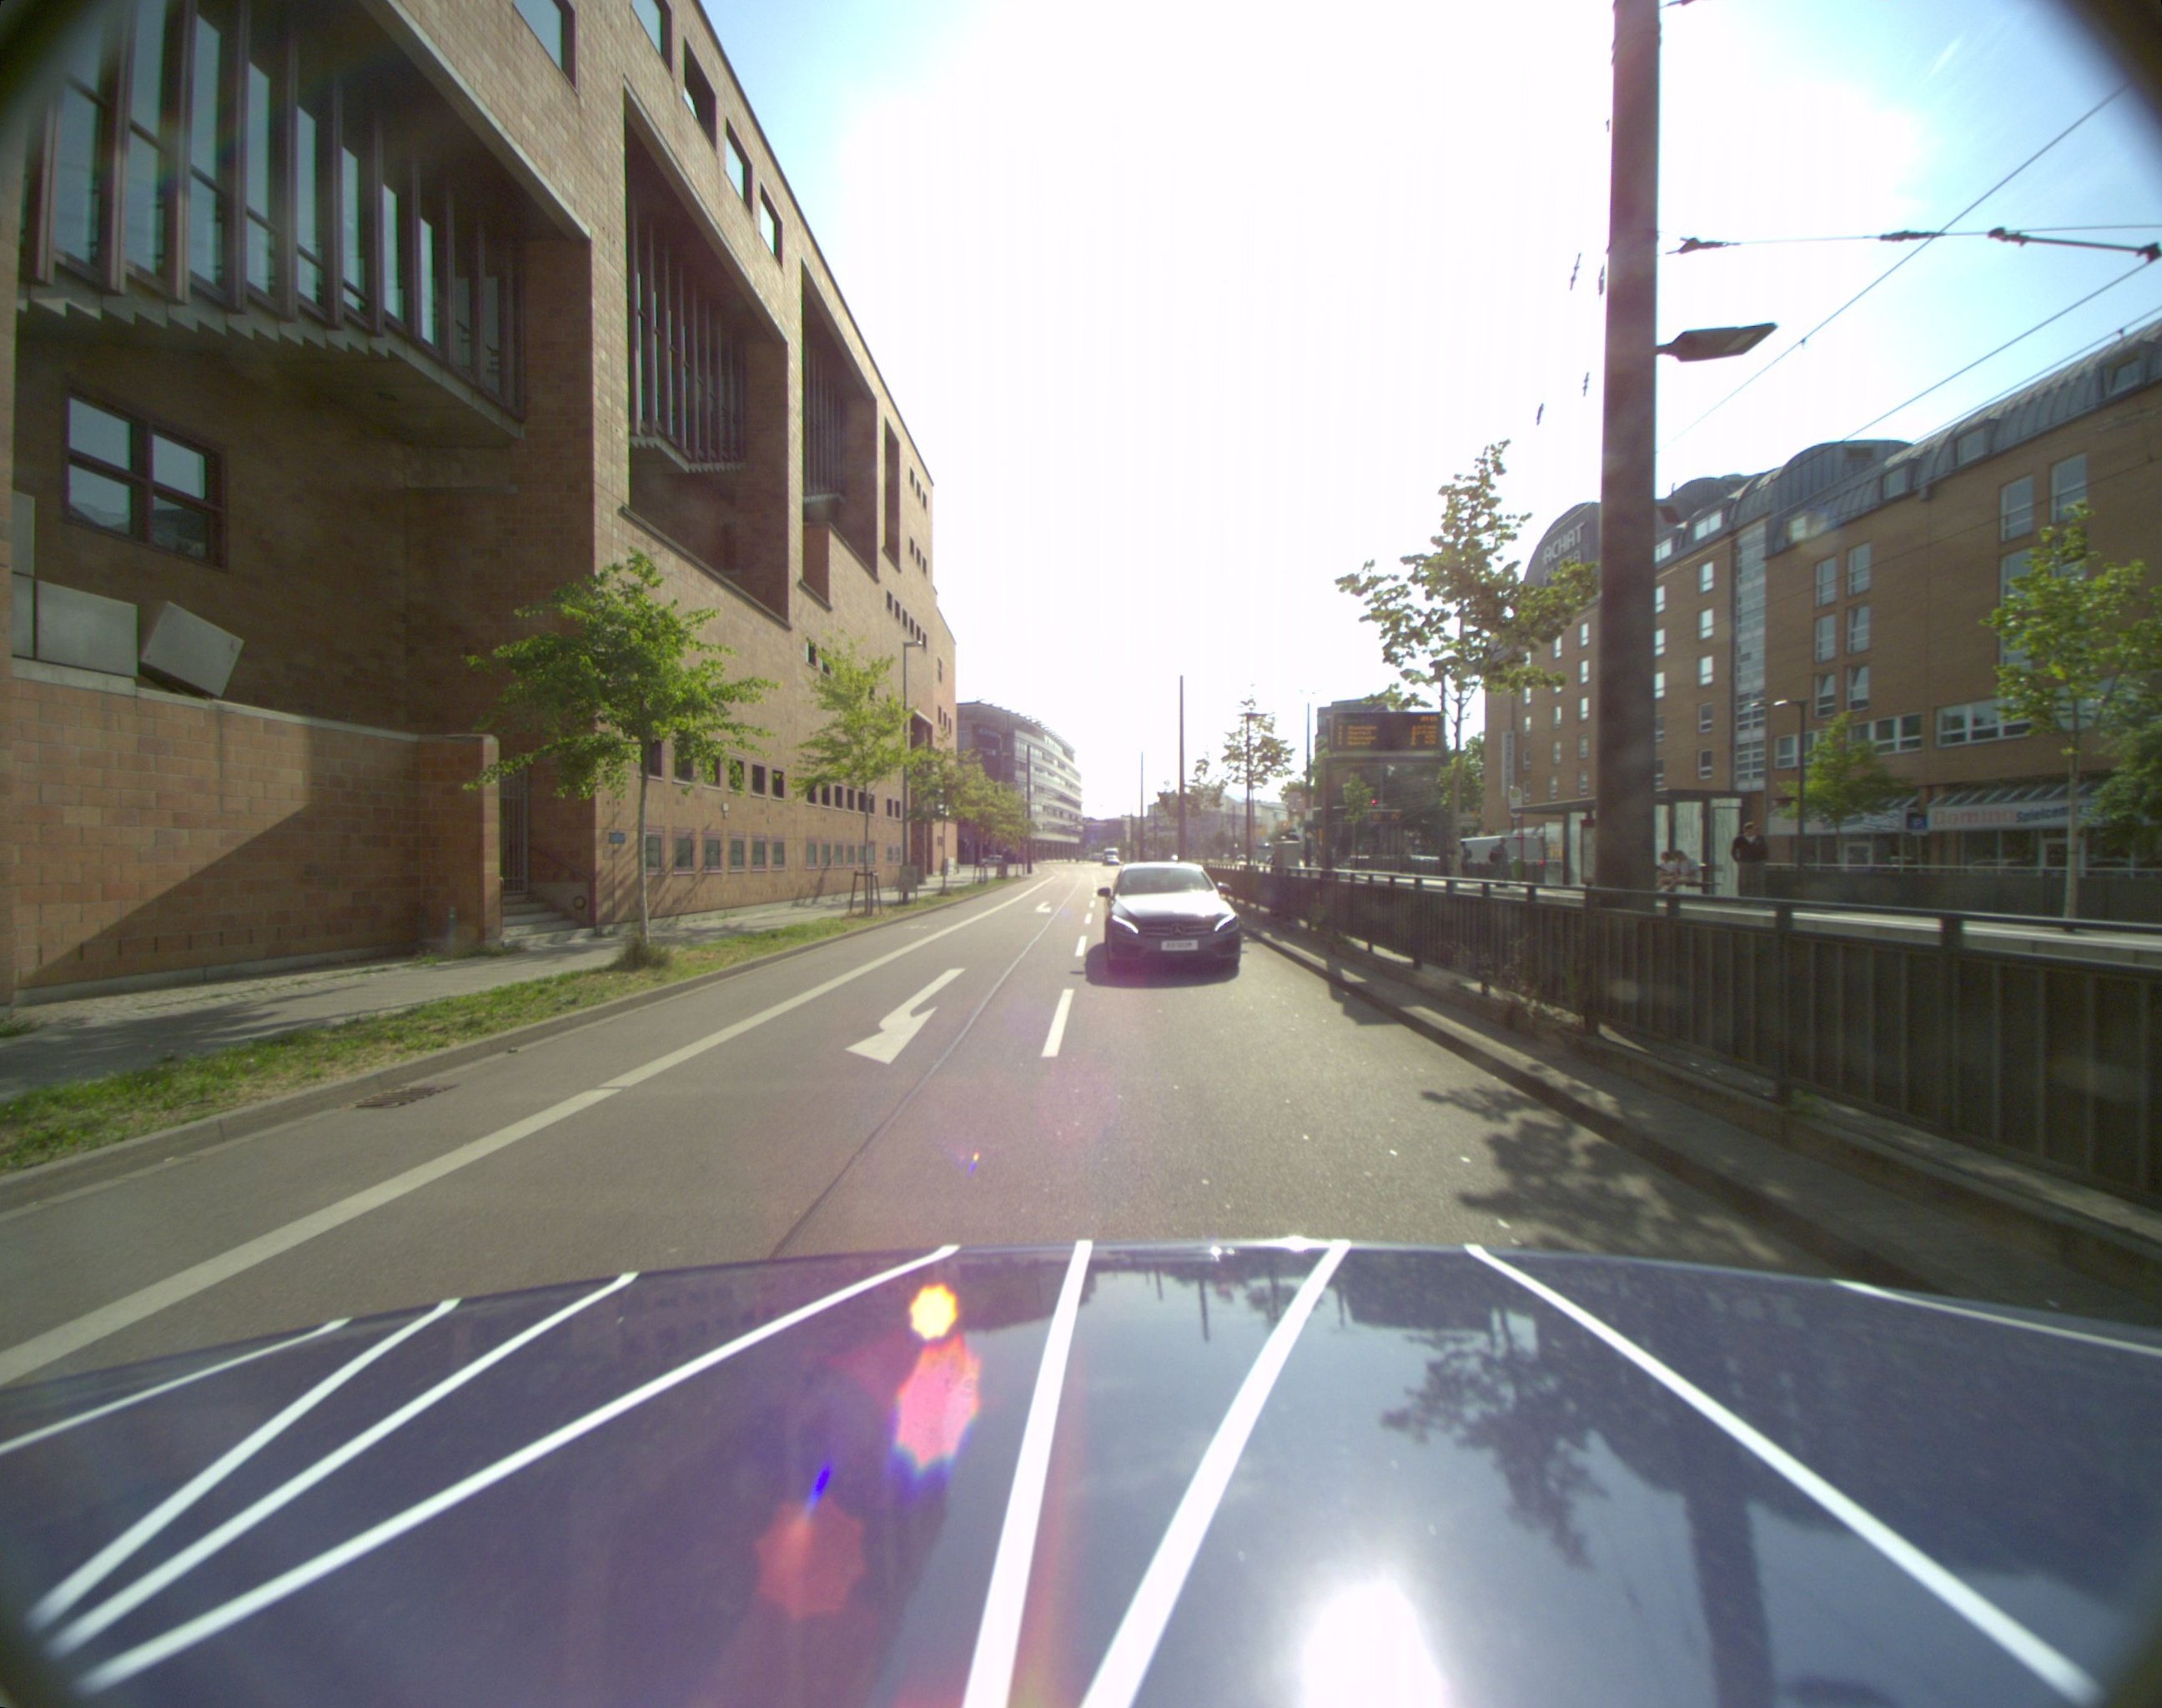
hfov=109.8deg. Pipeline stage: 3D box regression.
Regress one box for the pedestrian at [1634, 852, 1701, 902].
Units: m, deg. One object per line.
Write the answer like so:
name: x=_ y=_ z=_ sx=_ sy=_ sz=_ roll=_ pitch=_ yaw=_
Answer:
pedestrian: x=15.070 y=0.578 z=19.538 sx=1.156 sy=1.238 sz=0.675 roll=1 pitch=1 yaw=1

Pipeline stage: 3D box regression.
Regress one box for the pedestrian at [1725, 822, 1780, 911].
pedestrian: x=14.662 y=0.264 z=16.591 sx=0.556 sy=1.875 sz=0.805 roll=-1 pitch=1 yaw=-40

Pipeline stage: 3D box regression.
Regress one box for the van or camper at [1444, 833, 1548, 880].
van or camper: x=19.313 y=0.093 z=35.706 sx=2.087 sy=2.002 sz=5.342 roll=0 pitch=0 yaw=2

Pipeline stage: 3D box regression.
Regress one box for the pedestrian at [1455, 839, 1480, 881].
pedestrian: x=16.347 y=0.252 z=32.118 sx=0.652 sy=1.750 sz=0.698 roll=-3 pitch=1 yaw=3

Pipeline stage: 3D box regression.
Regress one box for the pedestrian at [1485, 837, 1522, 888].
pedestrian: x=14.832 y=0.299 z=26.669 sx=0.786 sy=1.736 sz=0.833 roll=1 pitch=1 yaw=-34

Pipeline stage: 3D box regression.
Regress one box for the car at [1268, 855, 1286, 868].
car: x=30.501 y=1.127 z=118.350 sx=1.998 sy=2.002 sz=4.001 roll=0 pitch=1 yaw=4

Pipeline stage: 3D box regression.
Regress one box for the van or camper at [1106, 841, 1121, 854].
van or camper: x=5.344 y=-1.071 z=123.712 sx=1.932 sy=2.198 sz=3.989 roll=0 pitch=1 yaw=10

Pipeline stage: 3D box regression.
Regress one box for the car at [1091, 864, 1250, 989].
car: x=1.169 y=0.918 z=11.423 sx=1.906 sy=1.384 sz=4.236 roll=-1 pitch=1 yaw=2

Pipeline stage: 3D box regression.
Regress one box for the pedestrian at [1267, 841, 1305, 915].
pedestrian: x=5.004 y=0.575 z=18.611 sx=0.675 sy=1.747 sz=0.727 roll=-3 pitch=1 yaw=1

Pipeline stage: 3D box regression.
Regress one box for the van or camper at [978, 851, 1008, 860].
van or camper: x=-12.782 y=0.250 z=110.717 sx=3.990 sy=1.305 sz=1.931 roll=0 pitch=1 yaw=-20

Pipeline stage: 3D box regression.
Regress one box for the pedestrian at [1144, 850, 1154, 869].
pedestrian: x=5.881 y=0.475 z=66.155 sx=0.582 sy=1.624 sz=0.645 roll=0 pitch=1 yaw=-32

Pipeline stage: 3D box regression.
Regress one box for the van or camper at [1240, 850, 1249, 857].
van or camper: x=36.120 y=-0.094 z=168.096 sx=1.843 sy=1.543 sz=4.004 roll=0 pitch=1 yaw=13

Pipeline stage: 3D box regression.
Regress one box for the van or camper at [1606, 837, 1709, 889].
van or camper: x=32.839 y=0.480 z=43.539 sx=1.998 sy=2.786 sz=5.353 roll=0 pitch=1 yaw=2

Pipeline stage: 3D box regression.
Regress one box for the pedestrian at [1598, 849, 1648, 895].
pedestrian: x=15.581 y=0.508 z=21.862 sx=0.871 sy=1.306 sz=0.808 roll=0 pitch=1 yaw=-1

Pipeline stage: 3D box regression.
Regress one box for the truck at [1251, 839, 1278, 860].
truck: x=34.440 y=-0.916 z=143.393 sx=3.167 sy=3.755 sz=12.363 roll=0 pitch=0 yaw=5

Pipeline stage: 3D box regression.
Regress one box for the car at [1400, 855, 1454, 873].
car: x=19.594 y=0.567 z=43.179 sx=1.549 sy=0.965 sz=3.488 roll=0 pitch=0 yaw=2

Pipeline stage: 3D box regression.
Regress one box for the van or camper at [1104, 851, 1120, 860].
van or camper: x=4.554 y=0.238 z=112.584 sx=1.934 sy=1.305 sz=3.984 roll=0 pitch=0 yaw=-5

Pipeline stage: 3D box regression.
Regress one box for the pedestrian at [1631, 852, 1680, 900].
pedestrian: x=15.312 y=0.571 z=20.267 sx=0.793 sy=1.238 sz=0.675 roll=1 pitch=1 yaw=1
